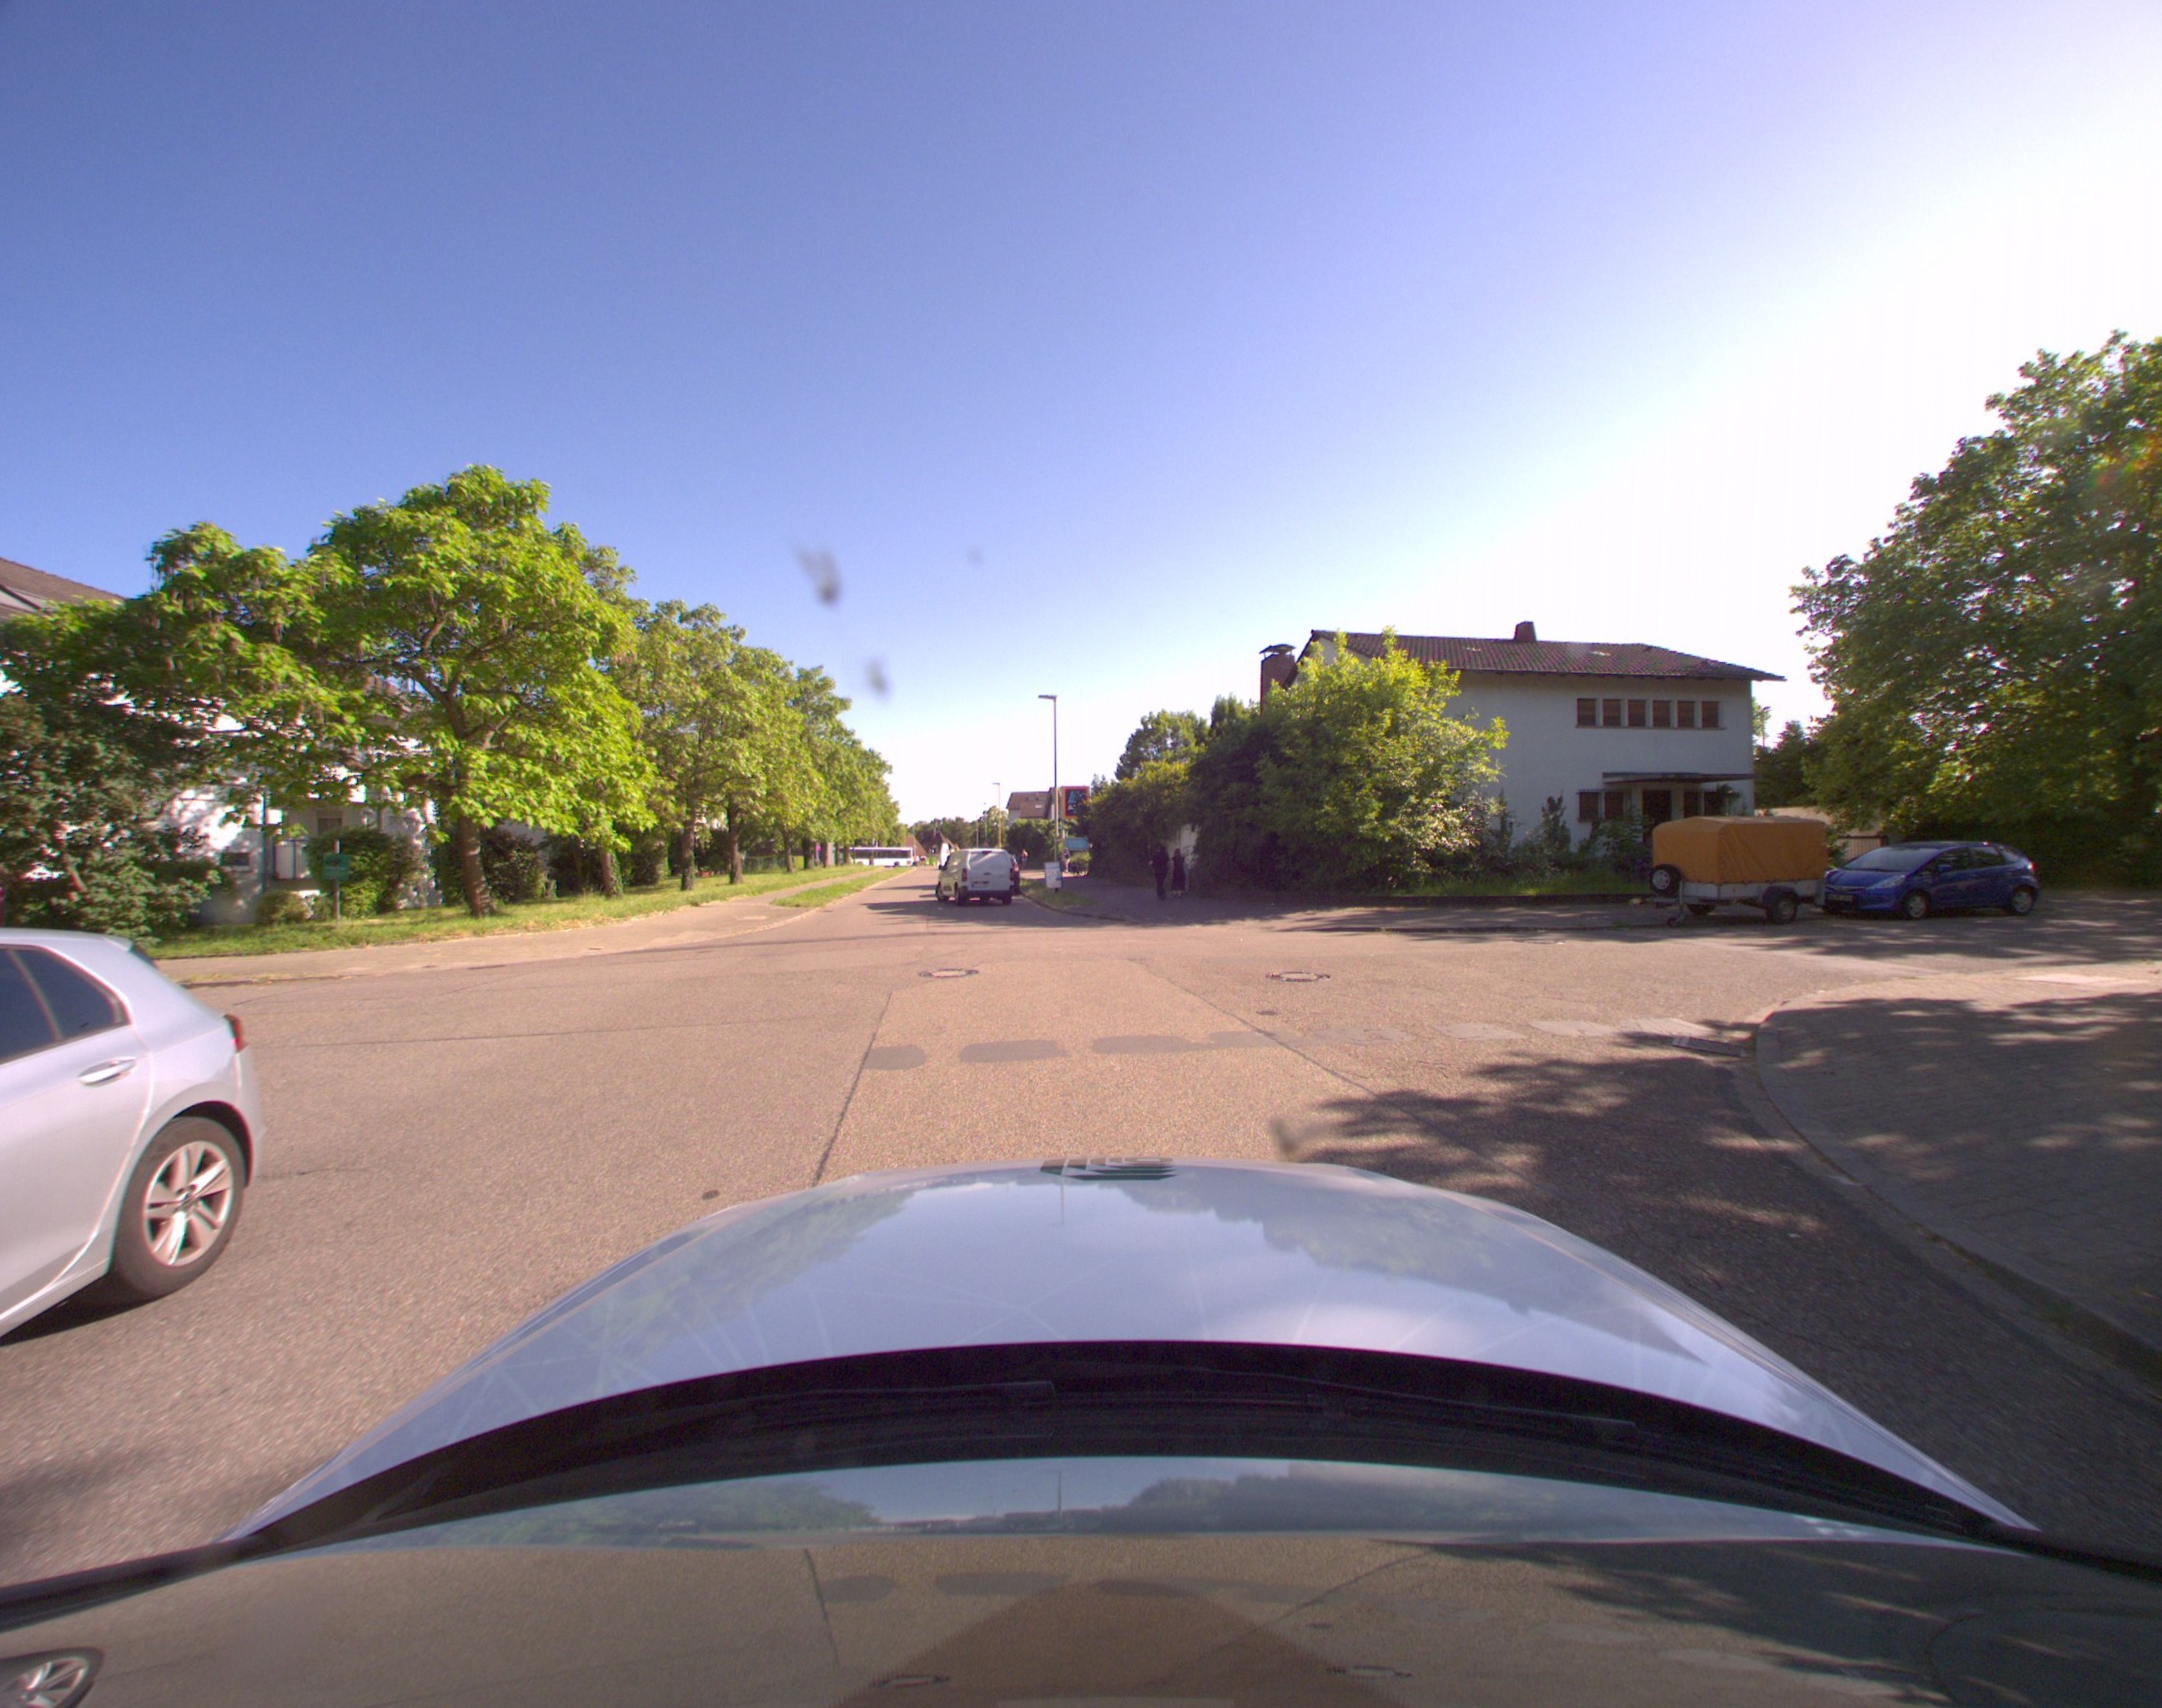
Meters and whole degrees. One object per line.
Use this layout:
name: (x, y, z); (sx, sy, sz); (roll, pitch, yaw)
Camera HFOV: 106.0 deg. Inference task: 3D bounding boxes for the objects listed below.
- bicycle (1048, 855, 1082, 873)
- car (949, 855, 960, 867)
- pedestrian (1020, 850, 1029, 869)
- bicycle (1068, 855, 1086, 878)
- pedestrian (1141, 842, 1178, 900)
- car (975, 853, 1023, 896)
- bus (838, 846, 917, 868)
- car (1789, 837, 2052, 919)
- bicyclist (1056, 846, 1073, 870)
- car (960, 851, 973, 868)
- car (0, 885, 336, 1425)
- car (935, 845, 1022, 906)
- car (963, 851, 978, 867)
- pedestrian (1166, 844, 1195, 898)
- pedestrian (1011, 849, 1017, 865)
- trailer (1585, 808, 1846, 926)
bicycle: (-1.118, 0.704, 57.029); (2.277, 1.138, 0.785); (-2, -1, -17)
car: (-22.952, 1.240, 147.689); (1.804, 2.069, 3.985); (1, -1, -10)
pedestrian: (-5.336, 0.473, 76.922); (0.796, 1.782, 0.808); (-1, 0, -1)
bicycle: (-0.235, 0.711, 46.874); (0.716, 1.221, 1.899); (-3, -1, 7)
pedestrian: (2.414, 0.527, 25.123); (0.804, 1.717, 0.979); (-3, -1, -13)
car: (-3.528, 0.789, 34.290); (1.724, 1.656, 4.338); (-1, 0, -9)
bus: (-27.633, 0.389, 110.994); (3.008, 2.824, 10.658); (-1, 0, 40)
car: (17.440, 0.484, 17.028); (3.916, 1.512, 1.884); (-1, -1, -9)
bicyclist: (-1.157, 0.278, 57.028); (0.965, 1.584, 0.903); (-1, -2, -16)
car: (-18.177, 0.902, 129.371); (1.867, 2.563, 4.750); (1, -1, -10)
car: (-3.633, 0.847, 1.561); (1.666, 1.466, 4.162); (-3, -1, -19)
car: (-3.570, 0.688, 27.605); (2.000, 1.882, 4.259); (-1, 0, -20)
car: (-13.040, 0.632, 96.187); (1.723, 1.837, 3.988); (-1, 0, -8)
pedestrian: (3.093, 0.525, 25.383); (0.573, 1.609, 0.789); (-3, -1, -13)
pedestrian: (-7.112, 0.306, 86.237); (0.566, 1.637, 0.546); (-1, 0, -4)
trailer: (12.739, 0.212, 16.468); (4.062, 2.119, 1.972); (-2, 1, -10)
